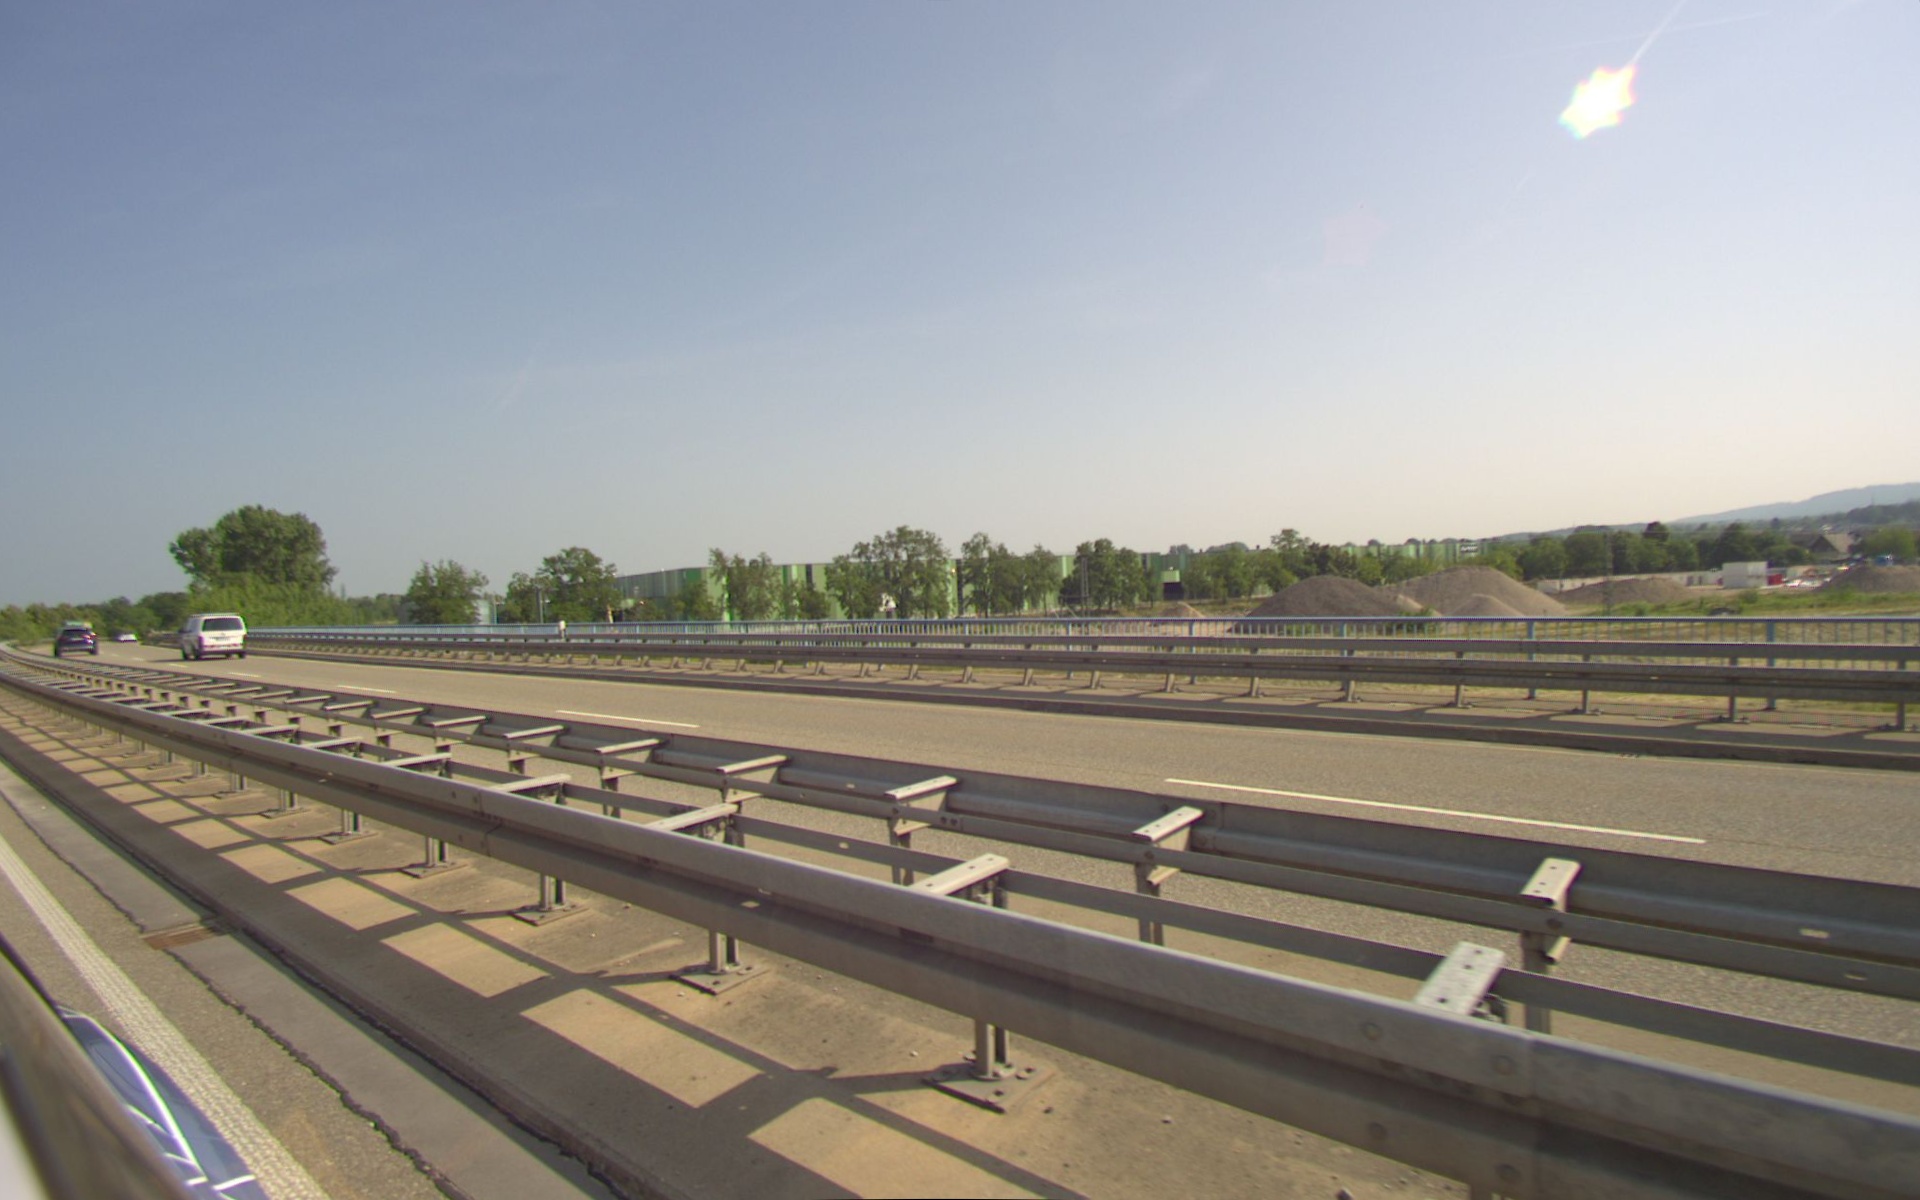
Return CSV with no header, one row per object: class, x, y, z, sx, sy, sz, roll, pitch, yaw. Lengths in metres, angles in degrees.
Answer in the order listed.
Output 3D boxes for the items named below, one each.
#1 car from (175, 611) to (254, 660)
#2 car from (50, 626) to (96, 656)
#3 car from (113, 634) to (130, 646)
car,-33.881,1.571,45.922,5.309,2.021,2.016,-2,0,44
car,-51.446,2.371,58.681,1.843,1.619,4.422,-2,0,-43
car,-113.367,5.365,136.839,1.628,1.514,4.006,-2,0,-41
